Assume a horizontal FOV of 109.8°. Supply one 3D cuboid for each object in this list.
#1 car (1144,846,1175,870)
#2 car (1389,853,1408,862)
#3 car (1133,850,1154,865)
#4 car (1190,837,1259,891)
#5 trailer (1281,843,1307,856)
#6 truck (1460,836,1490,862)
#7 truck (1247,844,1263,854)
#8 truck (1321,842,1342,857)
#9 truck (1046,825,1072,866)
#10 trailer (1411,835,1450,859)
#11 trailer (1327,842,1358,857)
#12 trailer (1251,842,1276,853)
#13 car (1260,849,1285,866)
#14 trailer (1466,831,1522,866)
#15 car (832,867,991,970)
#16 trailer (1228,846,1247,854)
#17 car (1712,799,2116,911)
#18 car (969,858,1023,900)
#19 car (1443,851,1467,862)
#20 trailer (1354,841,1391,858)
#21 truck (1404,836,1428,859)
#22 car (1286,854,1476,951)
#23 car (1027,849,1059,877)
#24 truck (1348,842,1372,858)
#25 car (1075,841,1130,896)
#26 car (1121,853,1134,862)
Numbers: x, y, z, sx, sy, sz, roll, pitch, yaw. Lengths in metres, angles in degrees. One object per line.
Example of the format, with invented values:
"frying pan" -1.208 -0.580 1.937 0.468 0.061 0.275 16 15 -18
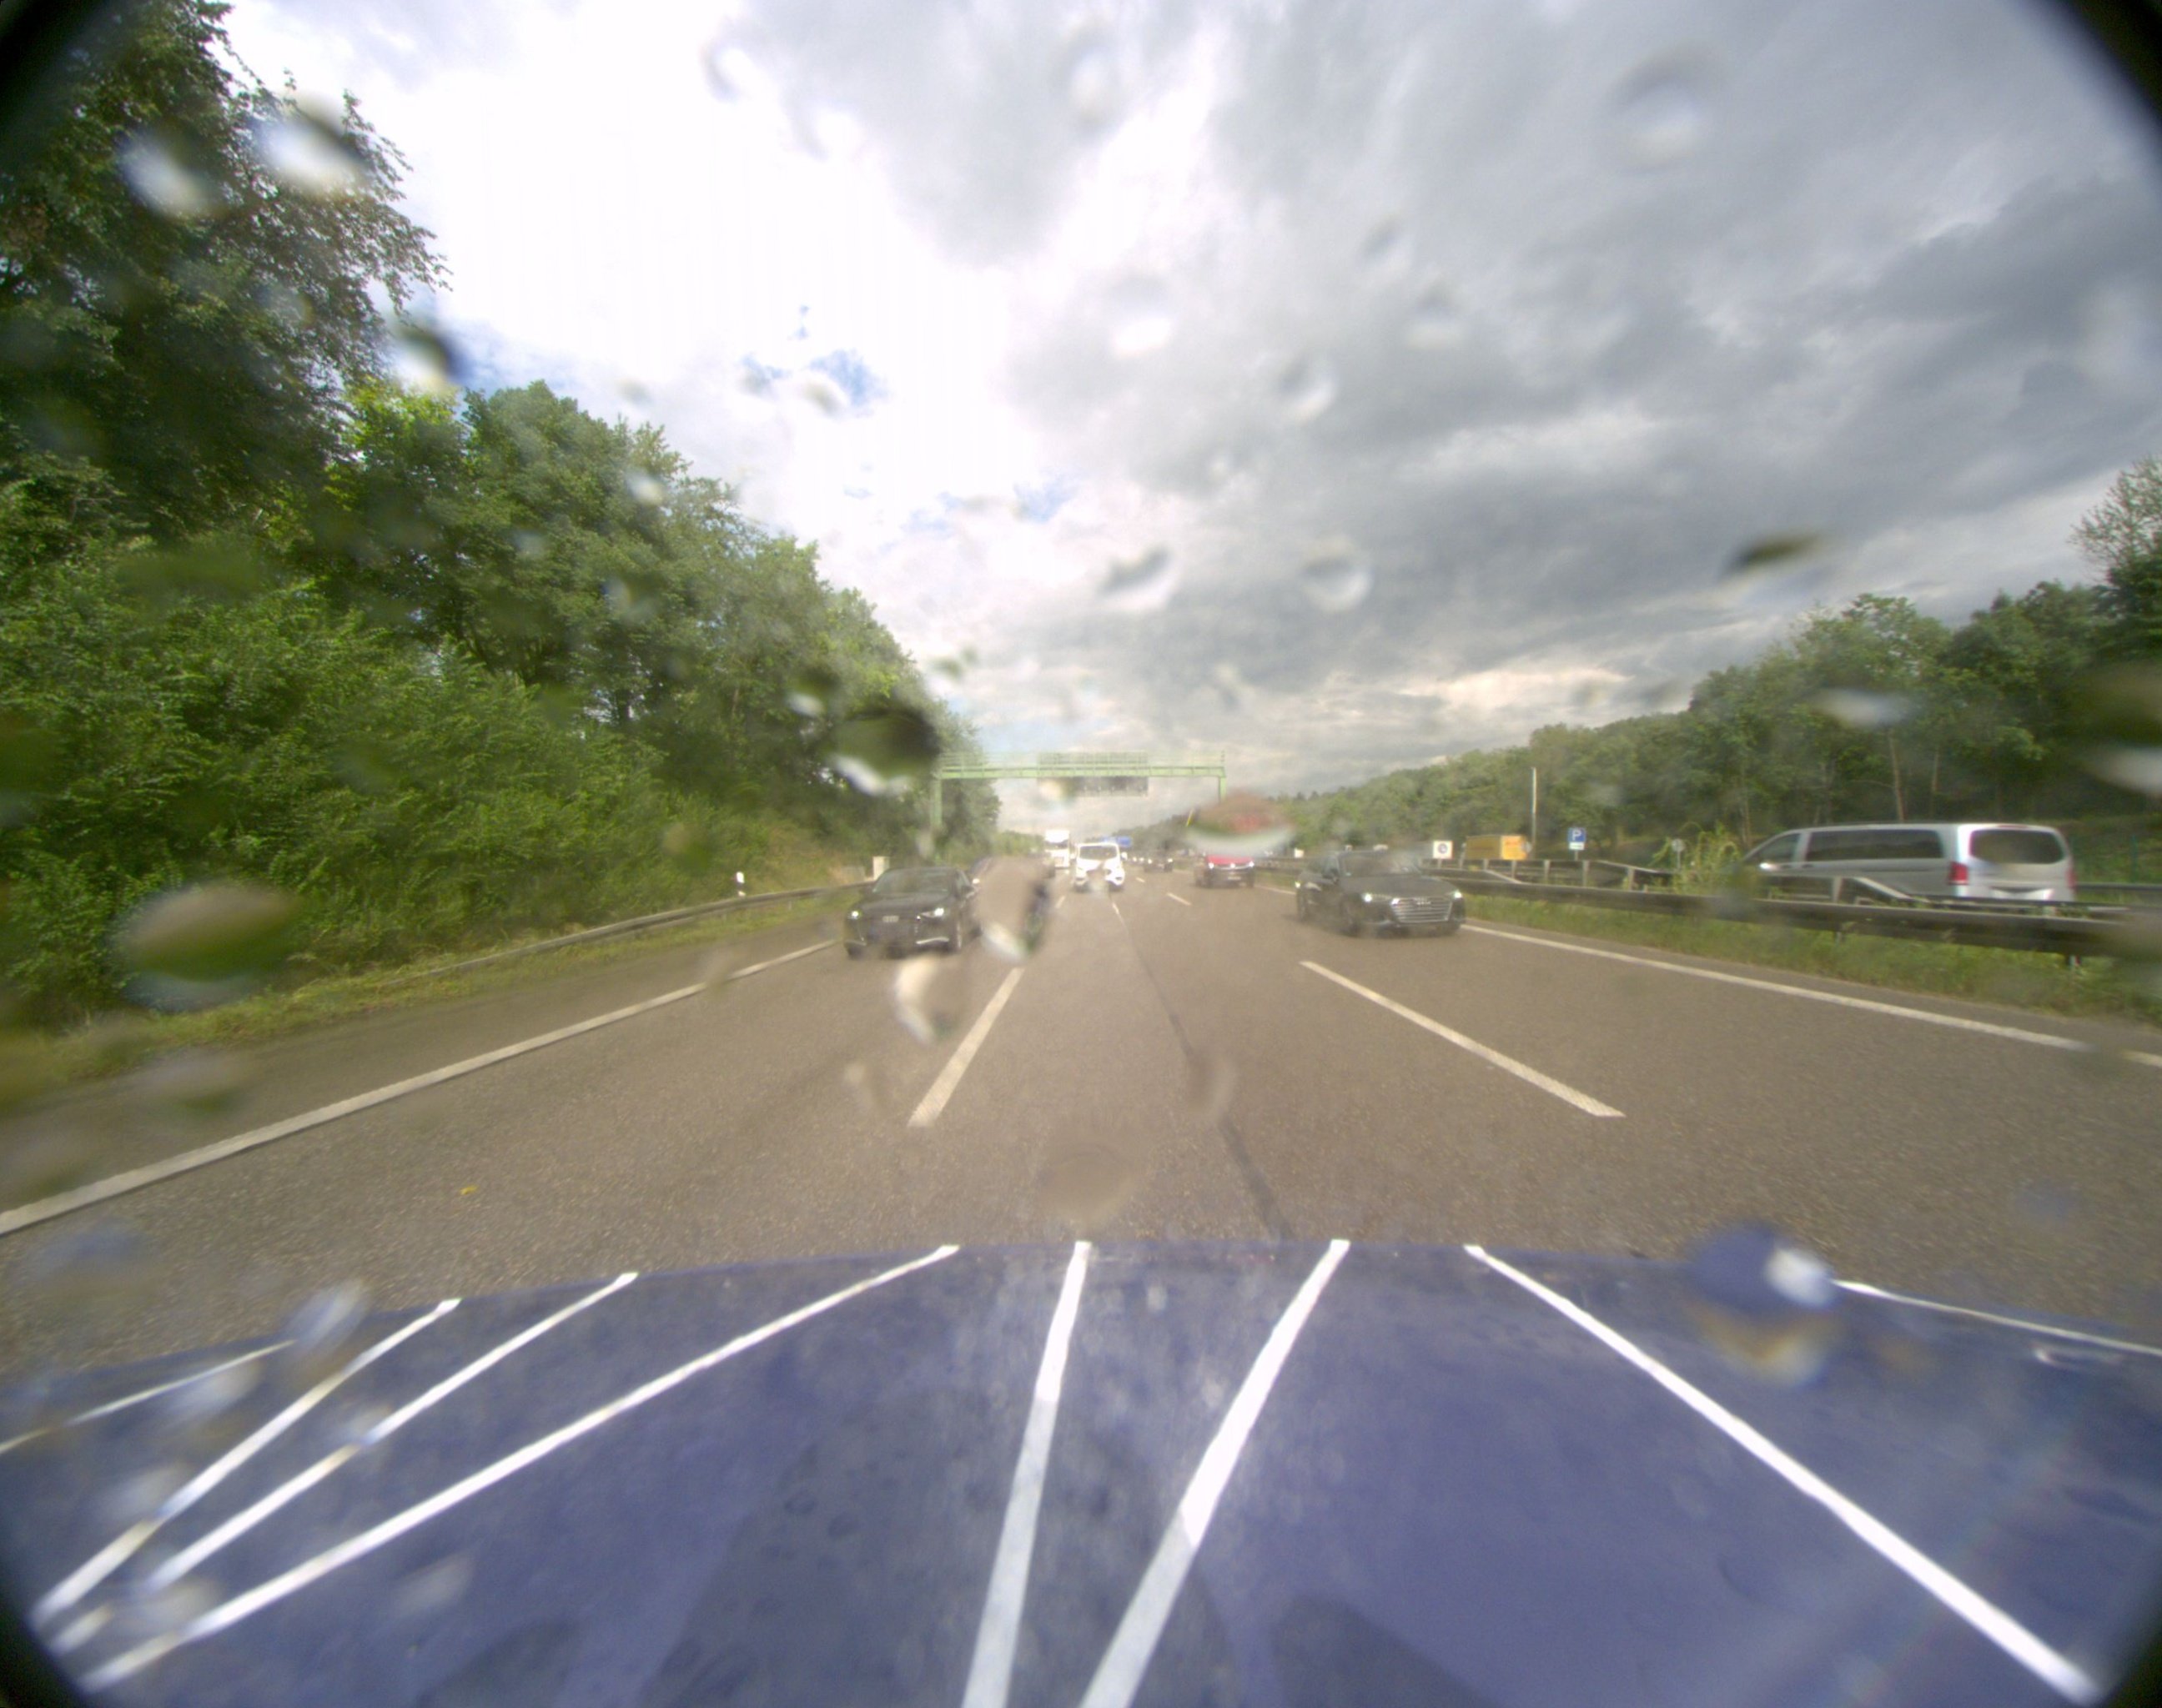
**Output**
"car" 5.961 0.289 57.875 1.895 1.660 4.294 -2 0 0
"car" 55.893 0.597 133.949 1.899 1.494 4.001 0 0 5
"car" 6.823 0.324 82.939 1.895 1.557 4.053 -2 0 0
"car" 5.839 0.365 31.448 1.895 1.973 4.750 -3 0 0
"trailer" 56.825 -1.163 203.173 3.193 3.252 12.644 0 0 -2
"truck" 49.096 -0.602 94.794 1.979 3.080 5.080 -2 1 13
"truck" 53.856 -1.586 235.338 3.082 3.237 6.093 0 1 -6
"truck" 57.877 -1.080 175.606 2.582 3.232 6.535 0 1 0
"truck" -2.278 -0.874 80.826 2.460 4.080 5.332 -2 0 0
"trailer" 53.406 -1.059 116.517 2.186 3.579 11.726 0 0 8
"trailer" 57.826 -1.013 168.399 2.611 3.252 12.647 0 0 0
"trailer" 54.647 -1.924 228.086 3.085 3.252 13.401 0 0 -6
"car" 23.885 0.427 94.774 1.998 2.002 4.000 -3 0 1
"trailer" 47.431 -0.758 87.646 1.996 3.673 13.669 -2 1 13
"car" -2.776 0.999 13.472 1.759 1.388 4.368 -2 0 0
"trailer" 51.173 -1.202 248.418 2.537 2.559 9.869 -2 1 -11
"car" 14.471 -0.002 13.810 1.913 1.669 4.968 0 0 0
"car" -3.220 0.905 29.262 1.655 1.448 3.744 -2 0 -1
"car" 51.733 0.364 105.246 1.898 1.494 4.002 0 0 8
"trailer" 57.371 -0.825 149.794 3.026 3.174 12.175 0 0 2
"truck" 54.433 -1.086 123.561 2.167 3.599 5.581 0 0 8
"car" 5.233 0.753 13.973 1.723 1.403 4.467 -2 0 0
"car" -2.563 0.577 52.555 1.831 1.793 5.305 -1 0 0
"truck" 57.554 -0.858 156.947 3.049 3.165 5.597 0 0 2
"car" 0.814 0.541 30.968 1.985 1.973 5.168 -2 0 0
"car" 6.855 0.438 111.562 1.675 1.228 4.000 -2 0 0
